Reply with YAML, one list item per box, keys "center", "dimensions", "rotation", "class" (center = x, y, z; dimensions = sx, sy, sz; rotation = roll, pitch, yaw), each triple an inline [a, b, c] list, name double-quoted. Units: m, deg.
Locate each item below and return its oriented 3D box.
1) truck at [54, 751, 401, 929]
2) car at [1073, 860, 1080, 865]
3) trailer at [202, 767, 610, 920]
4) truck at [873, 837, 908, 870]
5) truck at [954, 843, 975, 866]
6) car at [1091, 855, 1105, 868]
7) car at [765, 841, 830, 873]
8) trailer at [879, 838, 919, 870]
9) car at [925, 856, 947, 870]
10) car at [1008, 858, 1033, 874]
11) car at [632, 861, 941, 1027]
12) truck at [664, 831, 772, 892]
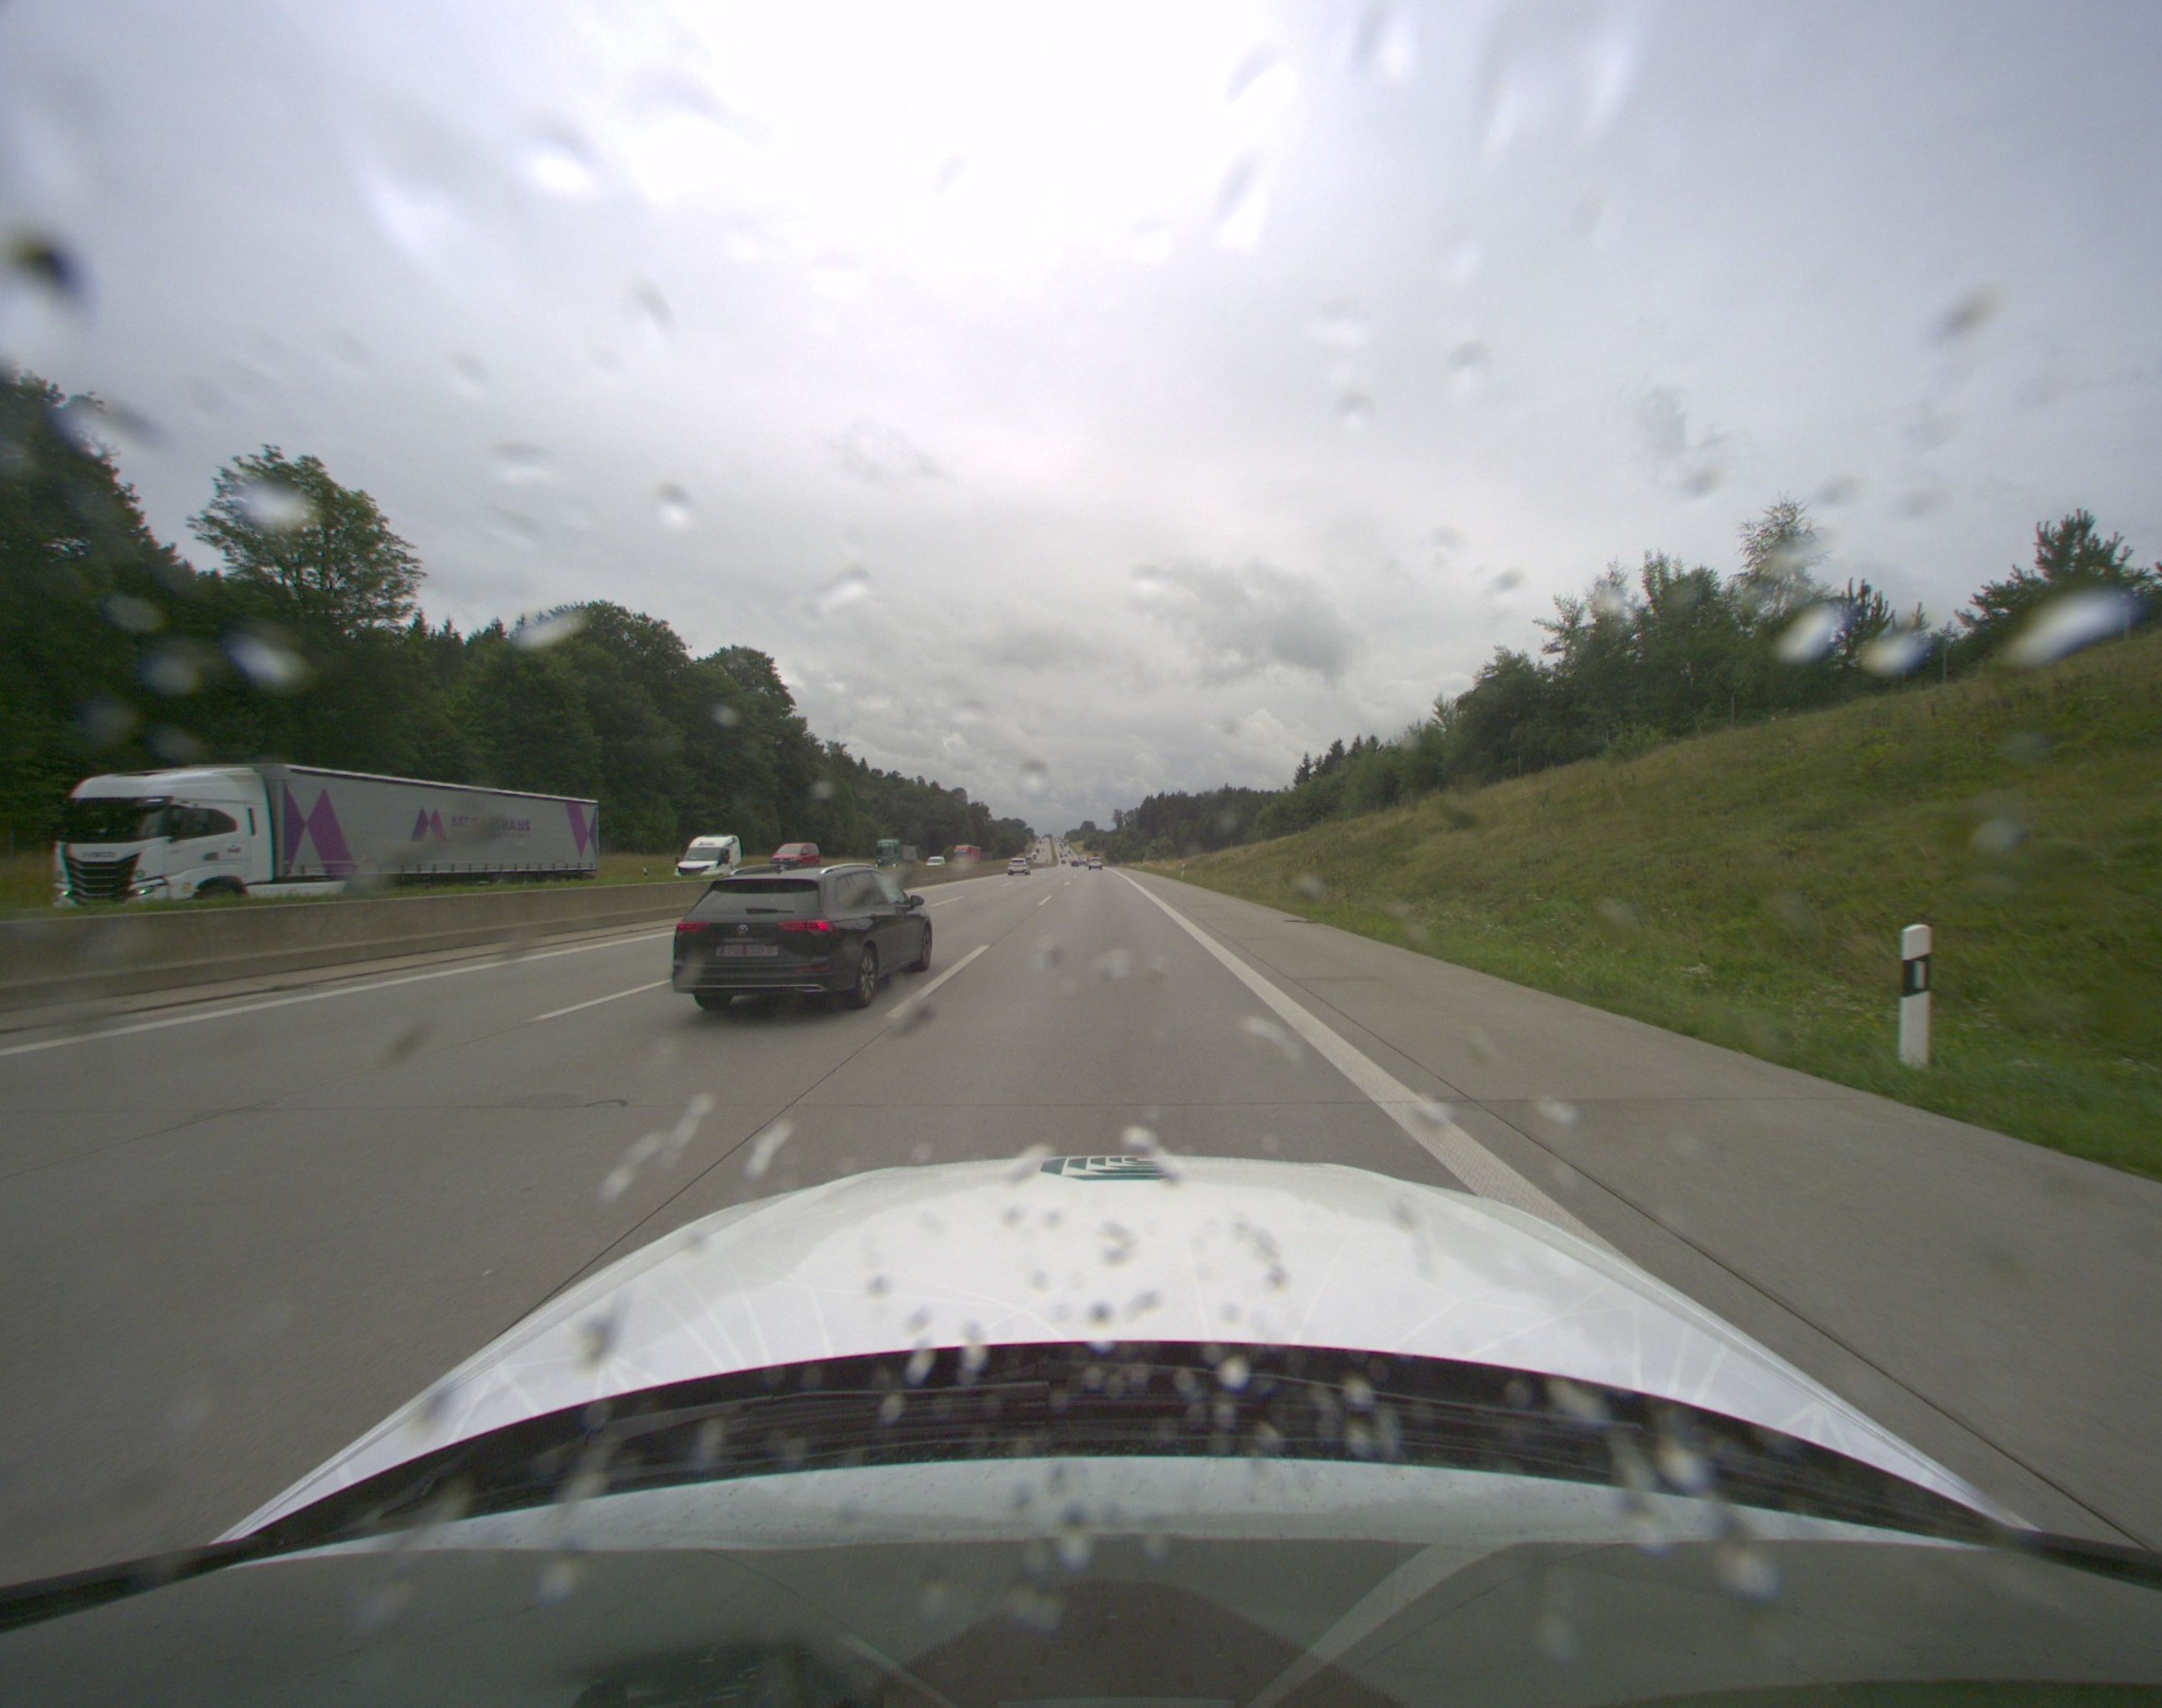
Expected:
- center: [-22.520, -0.329, 22.142]
  dimensions: [2.499, 4.125, 6.464]
  rotation: [0, 0, 2]
  class: "truck"
- center: [-1.159, 2.225, 217.384]
  dimensions: [1.930, 1.375, 4.591]
  rotation: [0, 0, -2]
  class: "car"
- center: [-22.292, -0.273, 28.995]
  dimensions: [2.488, 4.103, 13.980]
  rotation: [0, 0, 2]
  class: "trailer"
- center: [-22.361, -0.009, 95.922]
  dimensions: [2.771, 3.740, 5.660]
  rotation: [0, 0, 0]
  class: "truck"
- center: [-20.590, 0.094, 144.187]
  dimensions: [2.544, 3.928, 6.947]
  rotation: [0, 0, 1]
  class: "truck"
- center: [2.309, 1.008, 109.896]
  dimensions: [1.819, 1.655, 3.986]
  rotation: [0, 0, 1]
  class: "car"
- center: [-17.672, 0.226, 51.084]
  dimensions: [1.985, 1.882, 5.317]
  rotation: [-1, -1, 3]
  class: "car"
- center: [-22.307, -0.003, 100.536]
  dimensions: [2.794, 3.700, 9.012]
  rotation: [0, 0, 1]
  class: "trailer"
- center: [-17.357, 1.098, 97.689]
  dimensions: [1.774, 1.599, 4.561]
  rotation: [0, 0, 1]
  class: "car"
- center: [-5.597, 1.107, 75.956]
  dimensions: [1.940, 1.356, 4.260]
  rotation: [0, 0, 1]
  class: "car"
- center: [-2.995, 0.812, 9.434]
  dimensions: [1.745, 1.398, 4.487]
  rotation: [-1, 0, 2]
  class: "car"
- center: [-17.940, 0.327, 40.722]
  dimensions: [2.259, 2.788, 6.514]
  rotation: [0, 0, 2]
  class: "truck"
